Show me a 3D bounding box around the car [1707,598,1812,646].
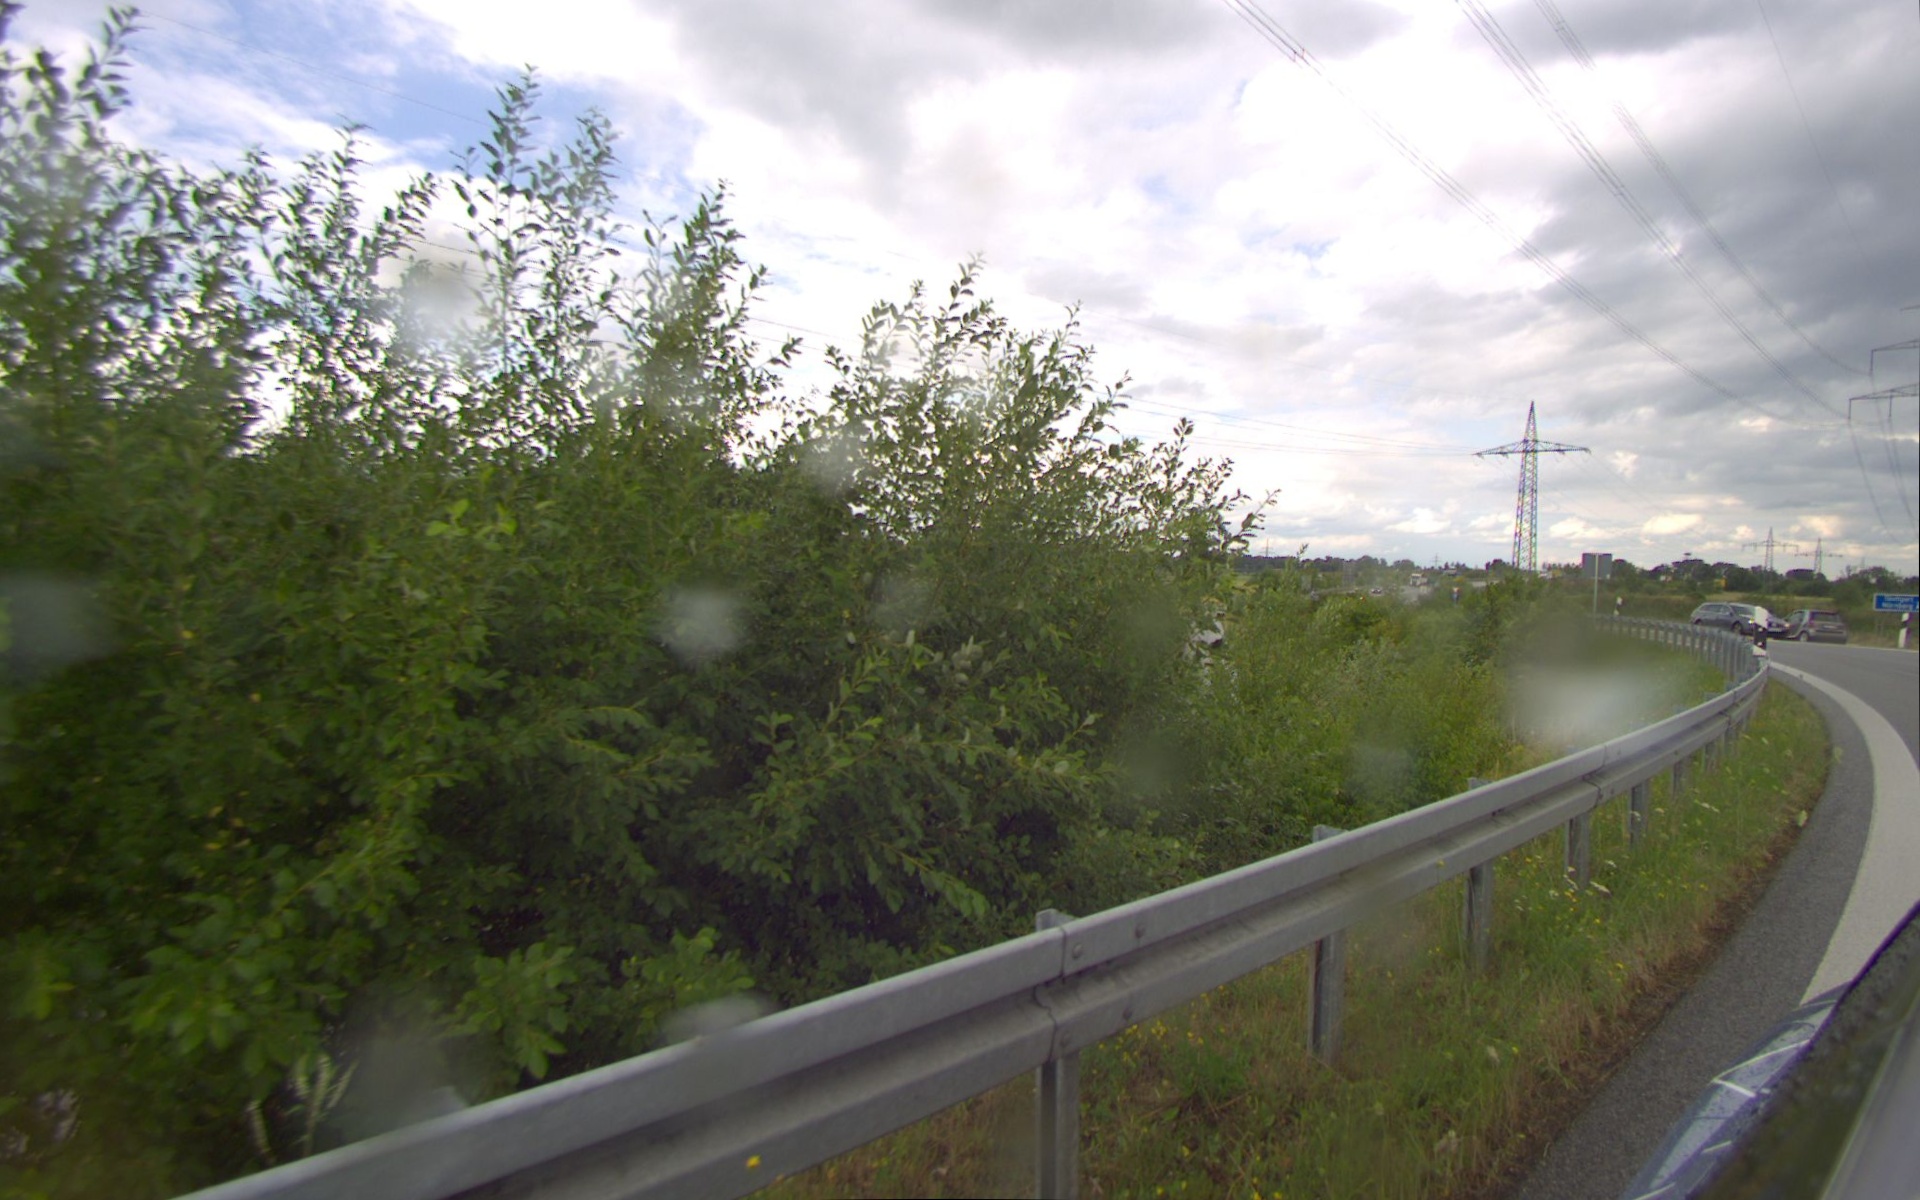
[{"bbox_3d":[33.016,0.860,41.924,1.972,1.774,3.981,1,1,15],"label":"car"}]

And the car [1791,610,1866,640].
[{"bbox_3d":[38.066,1.084,44.432,1.416,1.191,3.116,0,1,18],"label":"car"}]
